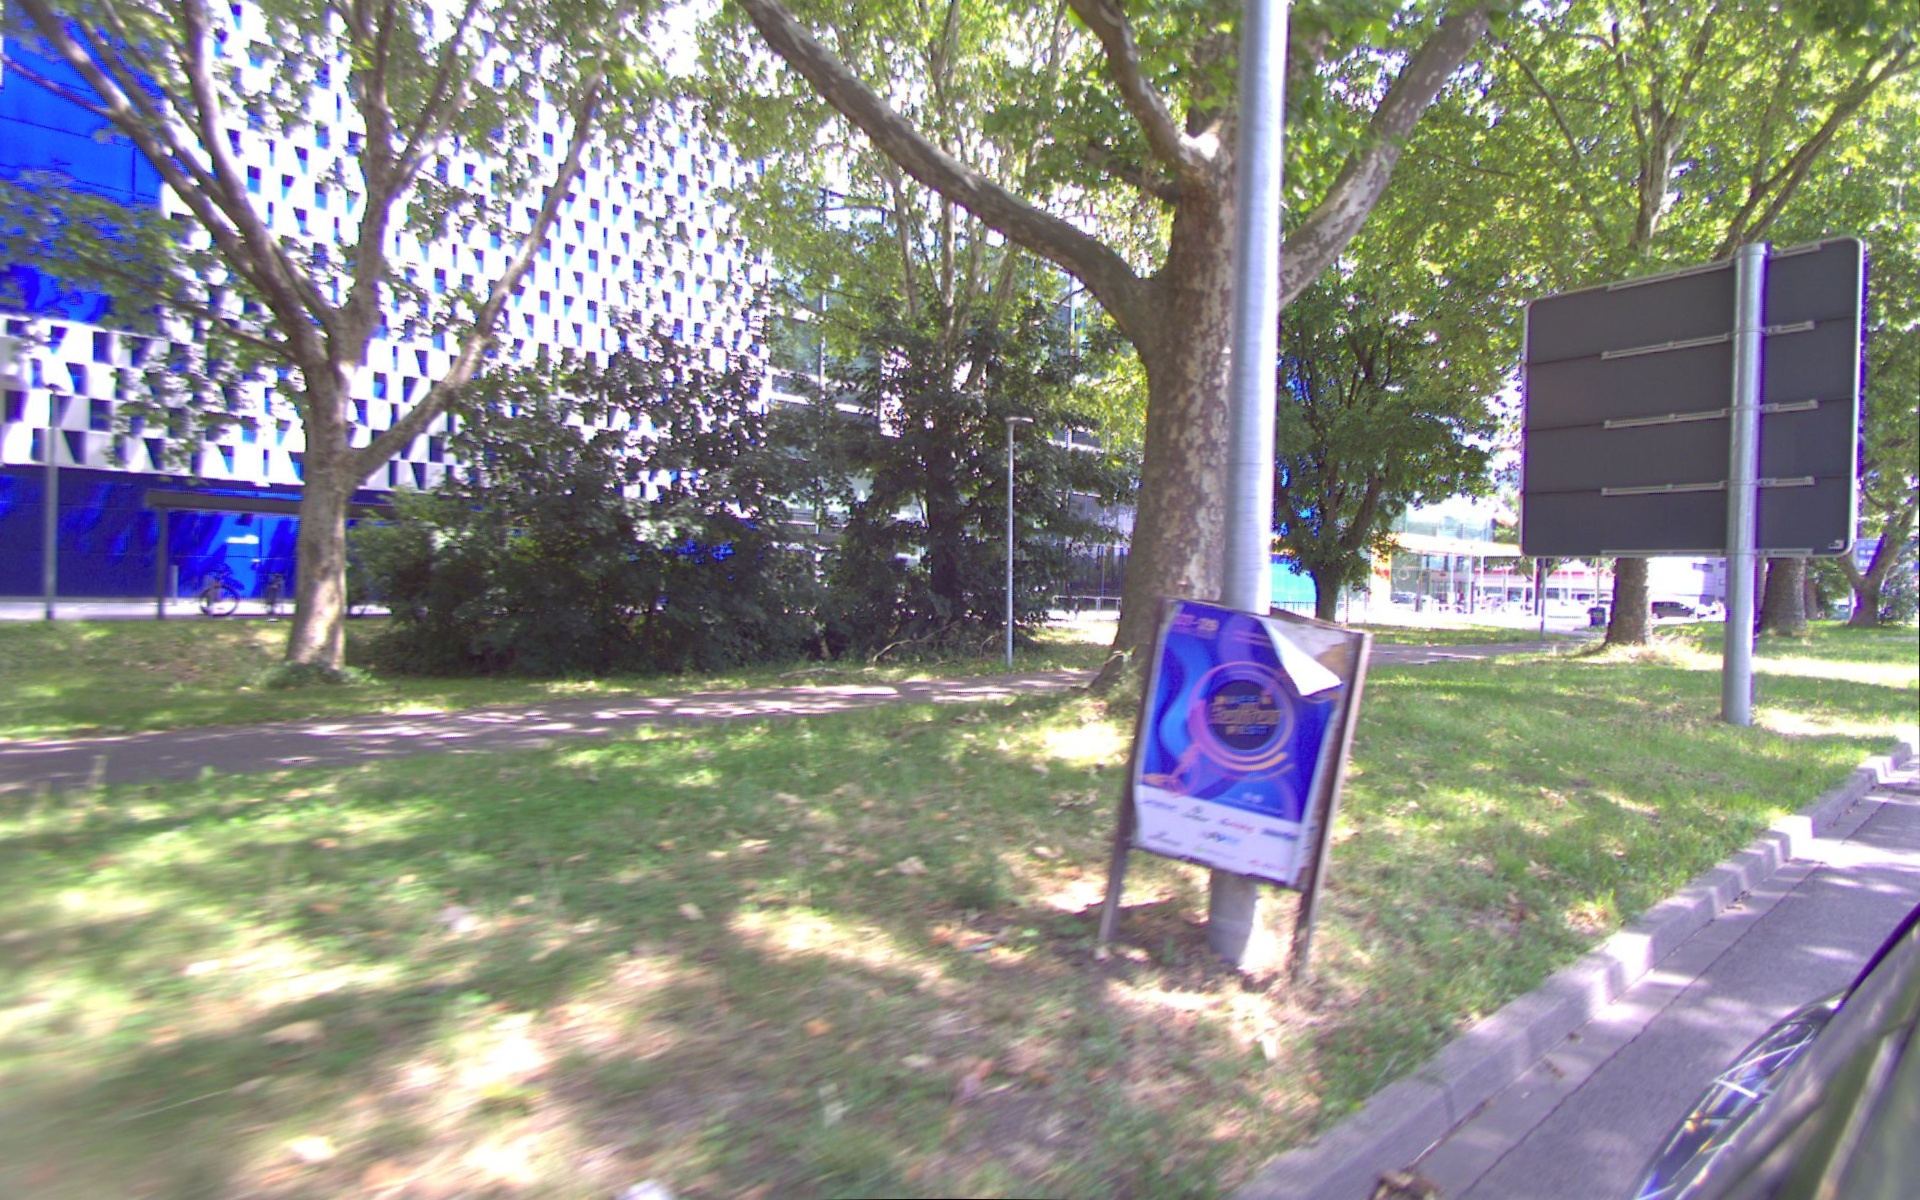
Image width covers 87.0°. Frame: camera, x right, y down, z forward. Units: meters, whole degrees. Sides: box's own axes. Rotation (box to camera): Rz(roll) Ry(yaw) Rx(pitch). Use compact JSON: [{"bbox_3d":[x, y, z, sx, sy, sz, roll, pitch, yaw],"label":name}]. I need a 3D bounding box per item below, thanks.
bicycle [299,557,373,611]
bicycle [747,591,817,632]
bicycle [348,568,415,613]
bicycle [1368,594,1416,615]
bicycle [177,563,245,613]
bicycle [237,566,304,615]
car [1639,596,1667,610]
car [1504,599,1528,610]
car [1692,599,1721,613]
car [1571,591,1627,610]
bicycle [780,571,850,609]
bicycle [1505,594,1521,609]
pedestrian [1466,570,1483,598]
[{"bbox_3d":[-13.866,-0.361,22.453,0.854,1.131,2.629,1,1,-44],"label":"bicycle"},{"bbox_3d":[-5.336,0.316,30.262,0.746,1.124,2.547,0,1,-45],"label":"bicycle"},{"bbox_3d":[-13.255,-0.221,23.167,0.854,0.981,2.061,0,1,-44],"label":"bicycle"},{"bbox_3d":[21.461,0.206,50.307,0.854,0.981,2.061,0,1,-44],"label":"bicycle"},{"bbox_3d":[-15.378,-0.248,20.752,0.854,0.981,2.061,0,1,-44],"label":"bicycle"},{"bbox_3d":[-14.665,-0.209,21.499,0.854,0.981,2.061,0,1,-44],"label":"bicycle"},{"bbox_3d":[98.518,0.461,143.864,4.437,1.918,1.998,0,0,-39],"label":"car"},{"bbox_3d":[76.275,0.596,138.828,3.934,1.566,1.850,0,0,-44],"label":"car"},{"bbox_3d":[99.433,0.778,134.726,4.421,1.739,1.998,-1,0,-38],"label":"car"},{"bbox_3d":[60.212,-0.001,95.440,1.966,1.660,4.075,0,1,-42],"label":"car"},{"bbox_3d":[-4.428,-0.325,30.806,0.746,1.124,2.547,0,1,-45],"label":"bicycle"},{"bbox_3d":[43.840,0.102,80.173,0.797,1.159,2.402,1,1,36],"label":"bicycle"},{"bbox_3d":[37.457,-1.145,73.703,0.718,2.039,0.801,1,0,-28],"label":"pedestrian"}]
